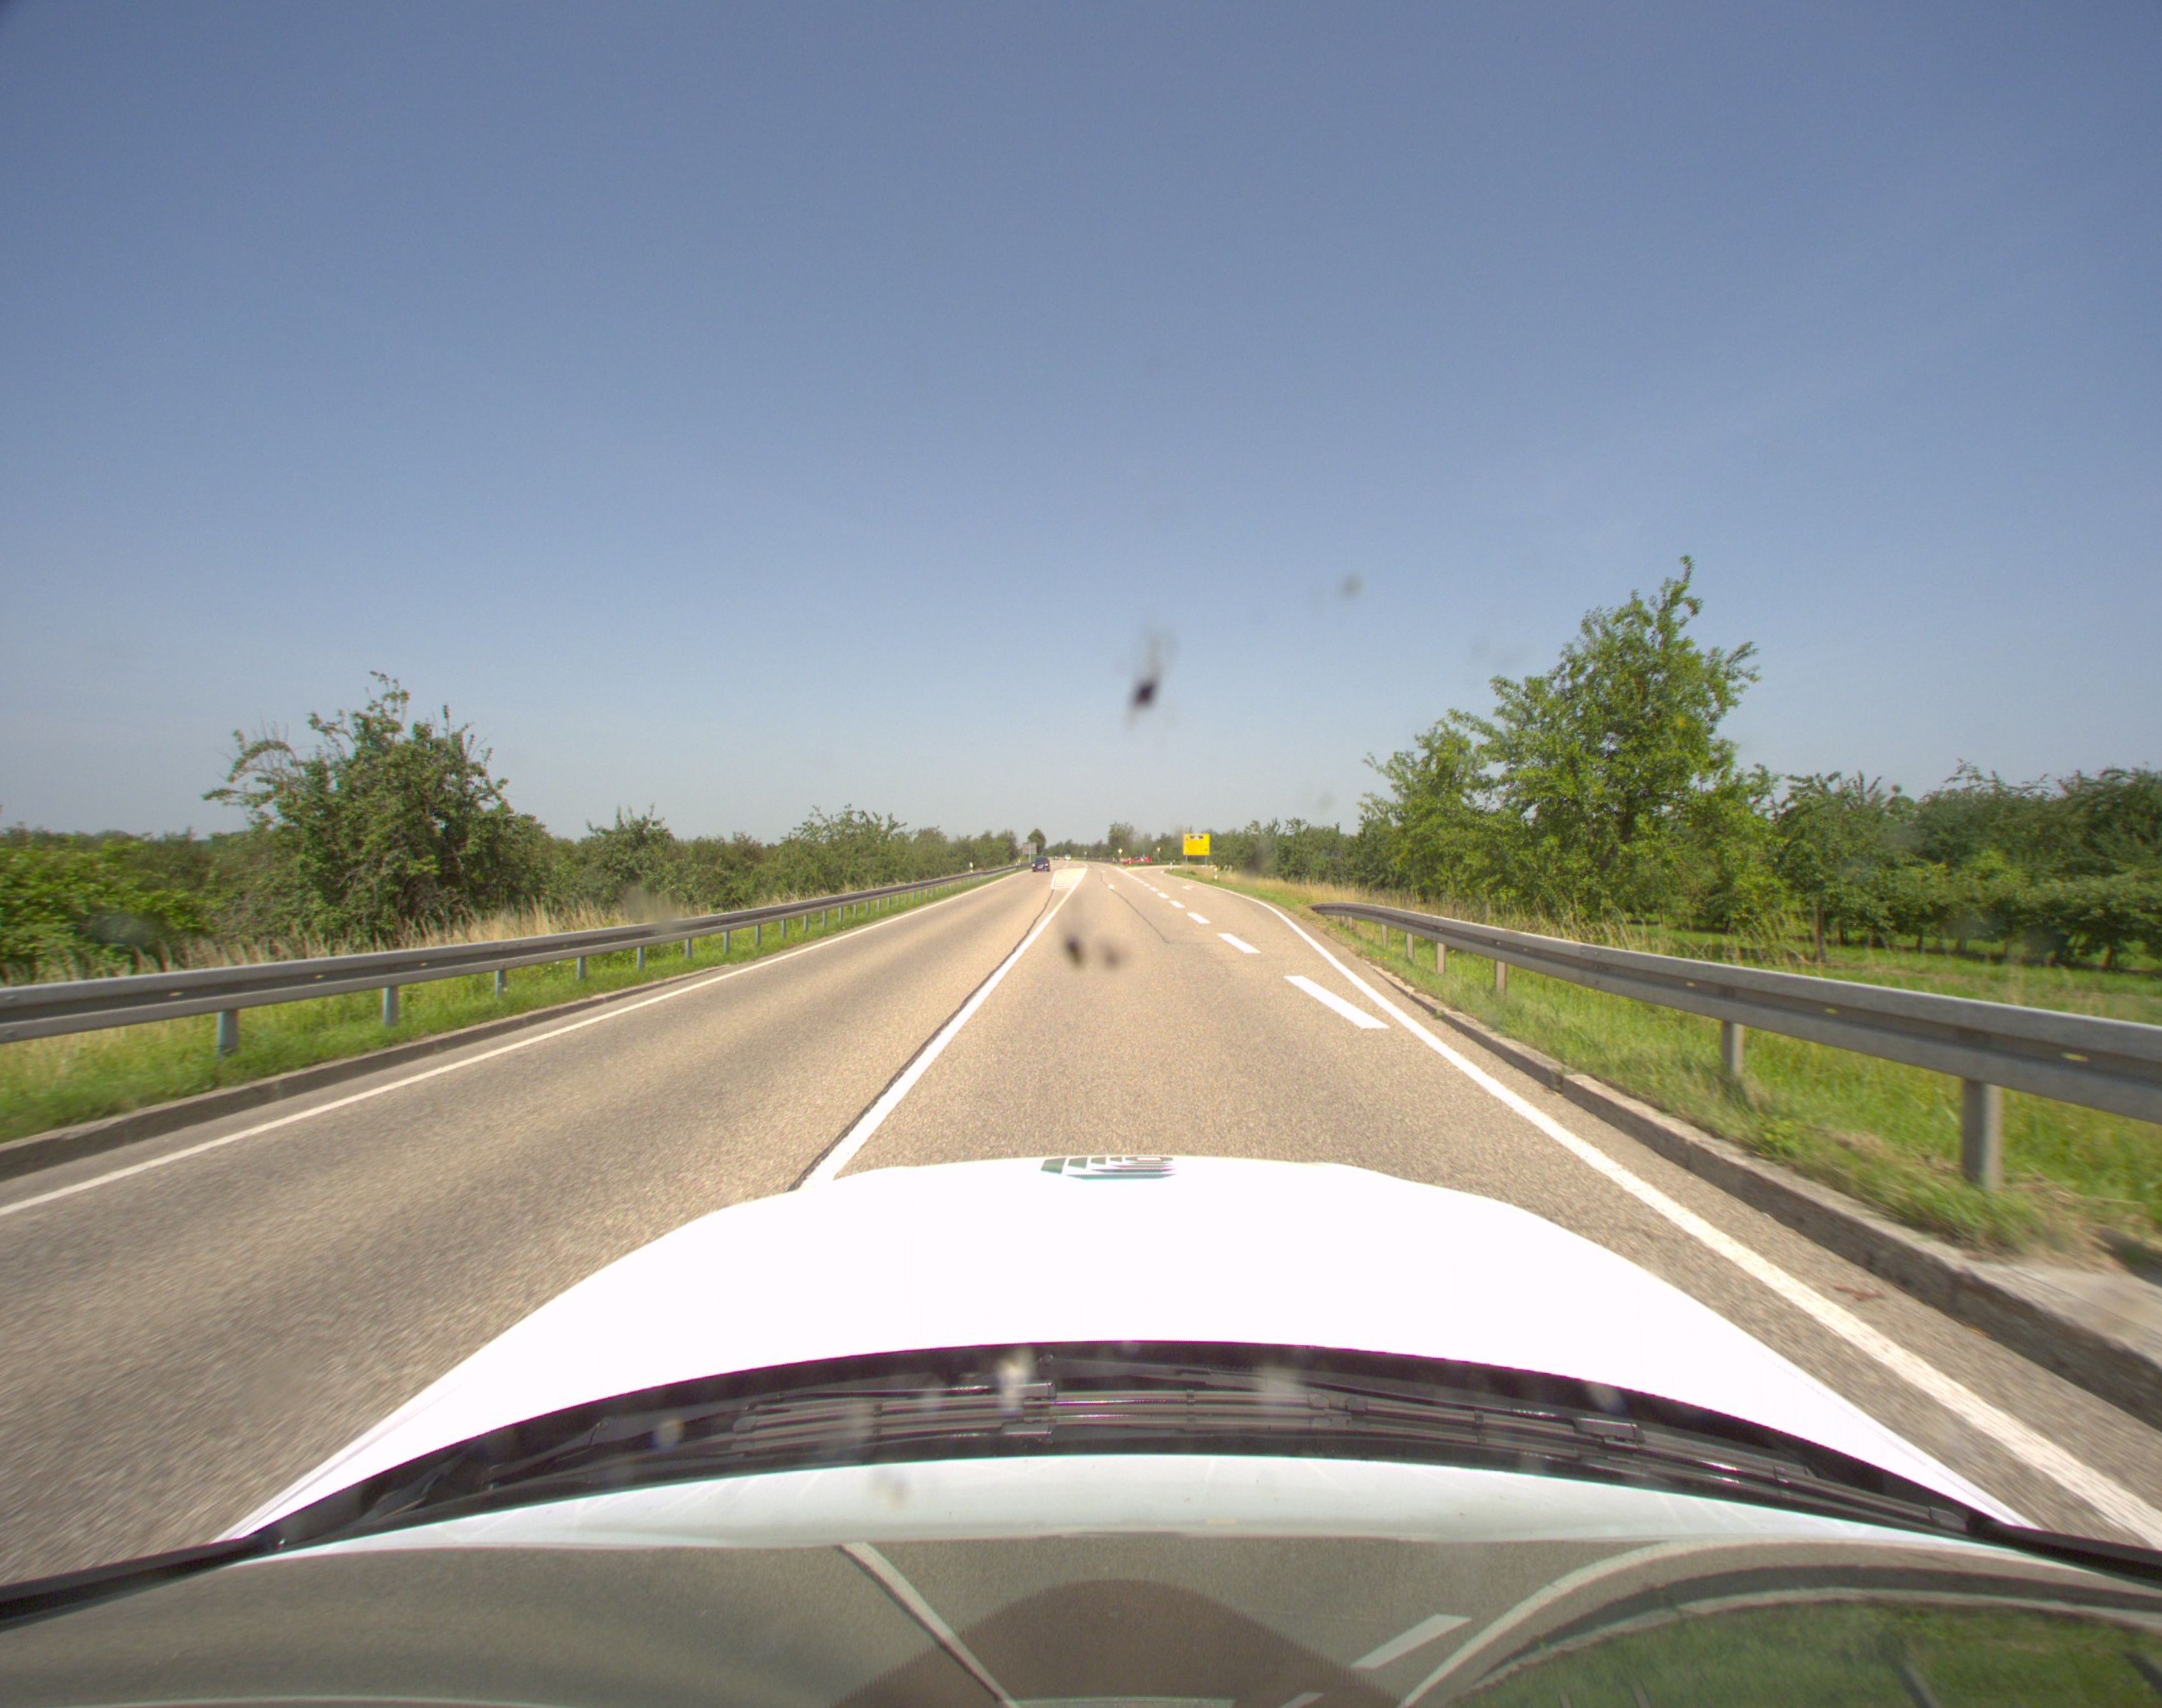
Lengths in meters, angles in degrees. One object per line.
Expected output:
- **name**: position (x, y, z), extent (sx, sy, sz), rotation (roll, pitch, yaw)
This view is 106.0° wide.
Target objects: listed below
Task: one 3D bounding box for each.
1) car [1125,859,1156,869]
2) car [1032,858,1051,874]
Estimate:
- **car**: position (8.842, 1.441, 120.802), extent (4.467, 1.449, 1.820), rotation (-1, -1, -1)
- **car**: position (-4.281, 1.309, 88.692), extent (1.798, 1.637, 4.808), rotation (-1, -1, 0)
